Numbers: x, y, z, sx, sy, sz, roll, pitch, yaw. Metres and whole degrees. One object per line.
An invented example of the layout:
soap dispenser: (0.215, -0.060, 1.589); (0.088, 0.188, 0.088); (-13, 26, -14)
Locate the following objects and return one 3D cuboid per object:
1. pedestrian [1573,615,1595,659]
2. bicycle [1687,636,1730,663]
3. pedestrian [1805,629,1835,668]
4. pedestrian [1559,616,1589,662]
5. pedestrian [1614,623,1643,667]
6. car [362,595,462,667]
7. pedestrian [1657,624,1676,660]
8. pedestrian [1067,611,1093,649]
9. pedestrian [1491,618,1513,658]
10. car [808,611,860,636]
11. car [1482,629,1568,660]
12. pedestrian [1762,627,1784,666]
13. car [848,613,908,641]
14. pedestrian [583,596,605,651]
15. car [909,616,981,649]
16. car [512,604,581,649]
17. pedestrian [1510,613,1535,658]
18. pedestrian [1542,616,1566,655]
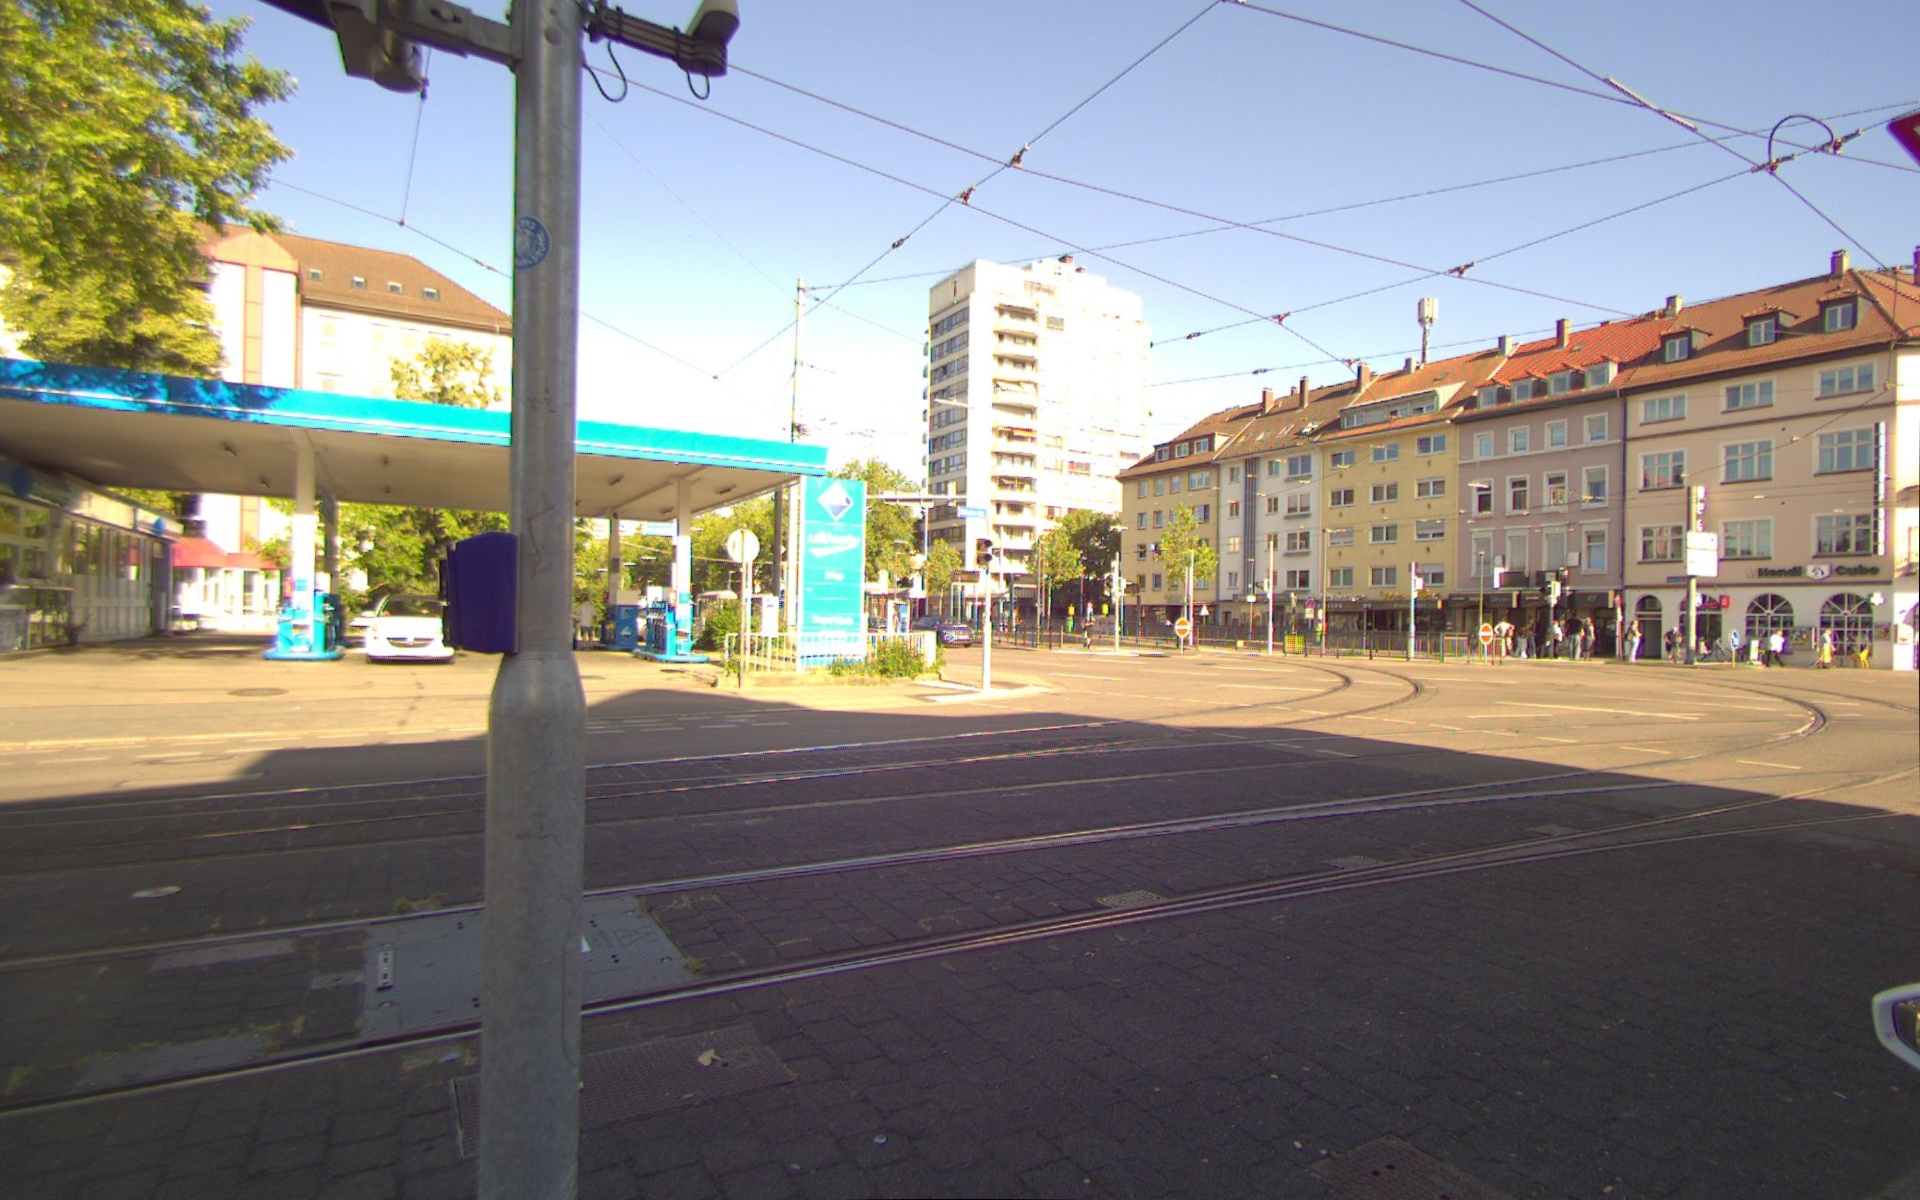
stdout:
pedestrian: (25.554, 1.505, 41.136); (0.554, 1.810, 0.556); (1, -1, -35)
bicycle: (37.588, 2.471, 50.446); (1.693, 1.293, 0.385); (0, -1, 44)
pedestrian: (39.181, 2.204, 45.761); (0.736, 1.704, 0.902); (1, -1, -36)
pedestrian: (24.806, 1.571, 40.576); (0.714, 1.853, 0.763); (1, -1, -30)
pedestrian: (26.418, 1.778, 39.689); (0.621, 1.704, 0.737); (1, -1, -30)
car: (-12.361, 0.666, 22.555); (1.793, 1.461, 3.966); (1, -1, -31)
pedestrian: (33.900, 2.025, 48.174); (0.731, 1.704, 0.626); (0, -1, 35)
pedestrian: (5.254, 1.301, 43.964); (0.788, 1.632, 0.766); (1, -1, -36)
pedestrian: (23.820, 1.670, 44.171); (0.754, 1.704, 0.628); (1, -1, 21)
car: (-7.616, 1.394, 60.313); (1.697, 1.439, 4.149); (1, -1, -28)
car: (30.741, 2.400, 54.774); (1.795, 1.511, 3.715); (2, 0, -27)
pedestrian: (36.999, 2.103, 45.695); (0.731, 1.704, 0.626); (0, -1, 35)
car: (-4.489, 1.441, 54.303); (1.697, 1.439, 4.149); (1, -1, -28)
pedestrian: (-11.710, 0.747, 32.134); (0.579, 1.715, 0.756); (1, -1, -25)
car: (-0.777, 1.529, 47.867); (1.697, 1.439, 4.149); (1, -1, -28)
car: (-13.581, 0.852, 32.876); (1.697, 1.360, 3.970); (1, -1, -28)
pedestrian: (23.366, 1.471, 41.720); (0.769, 1.874, 0.625); (1, -1, -30)
pedestrian: (25.032, 1.495, 42.340); (0.554, 1.602, 0.694); (1, -1, -35)
